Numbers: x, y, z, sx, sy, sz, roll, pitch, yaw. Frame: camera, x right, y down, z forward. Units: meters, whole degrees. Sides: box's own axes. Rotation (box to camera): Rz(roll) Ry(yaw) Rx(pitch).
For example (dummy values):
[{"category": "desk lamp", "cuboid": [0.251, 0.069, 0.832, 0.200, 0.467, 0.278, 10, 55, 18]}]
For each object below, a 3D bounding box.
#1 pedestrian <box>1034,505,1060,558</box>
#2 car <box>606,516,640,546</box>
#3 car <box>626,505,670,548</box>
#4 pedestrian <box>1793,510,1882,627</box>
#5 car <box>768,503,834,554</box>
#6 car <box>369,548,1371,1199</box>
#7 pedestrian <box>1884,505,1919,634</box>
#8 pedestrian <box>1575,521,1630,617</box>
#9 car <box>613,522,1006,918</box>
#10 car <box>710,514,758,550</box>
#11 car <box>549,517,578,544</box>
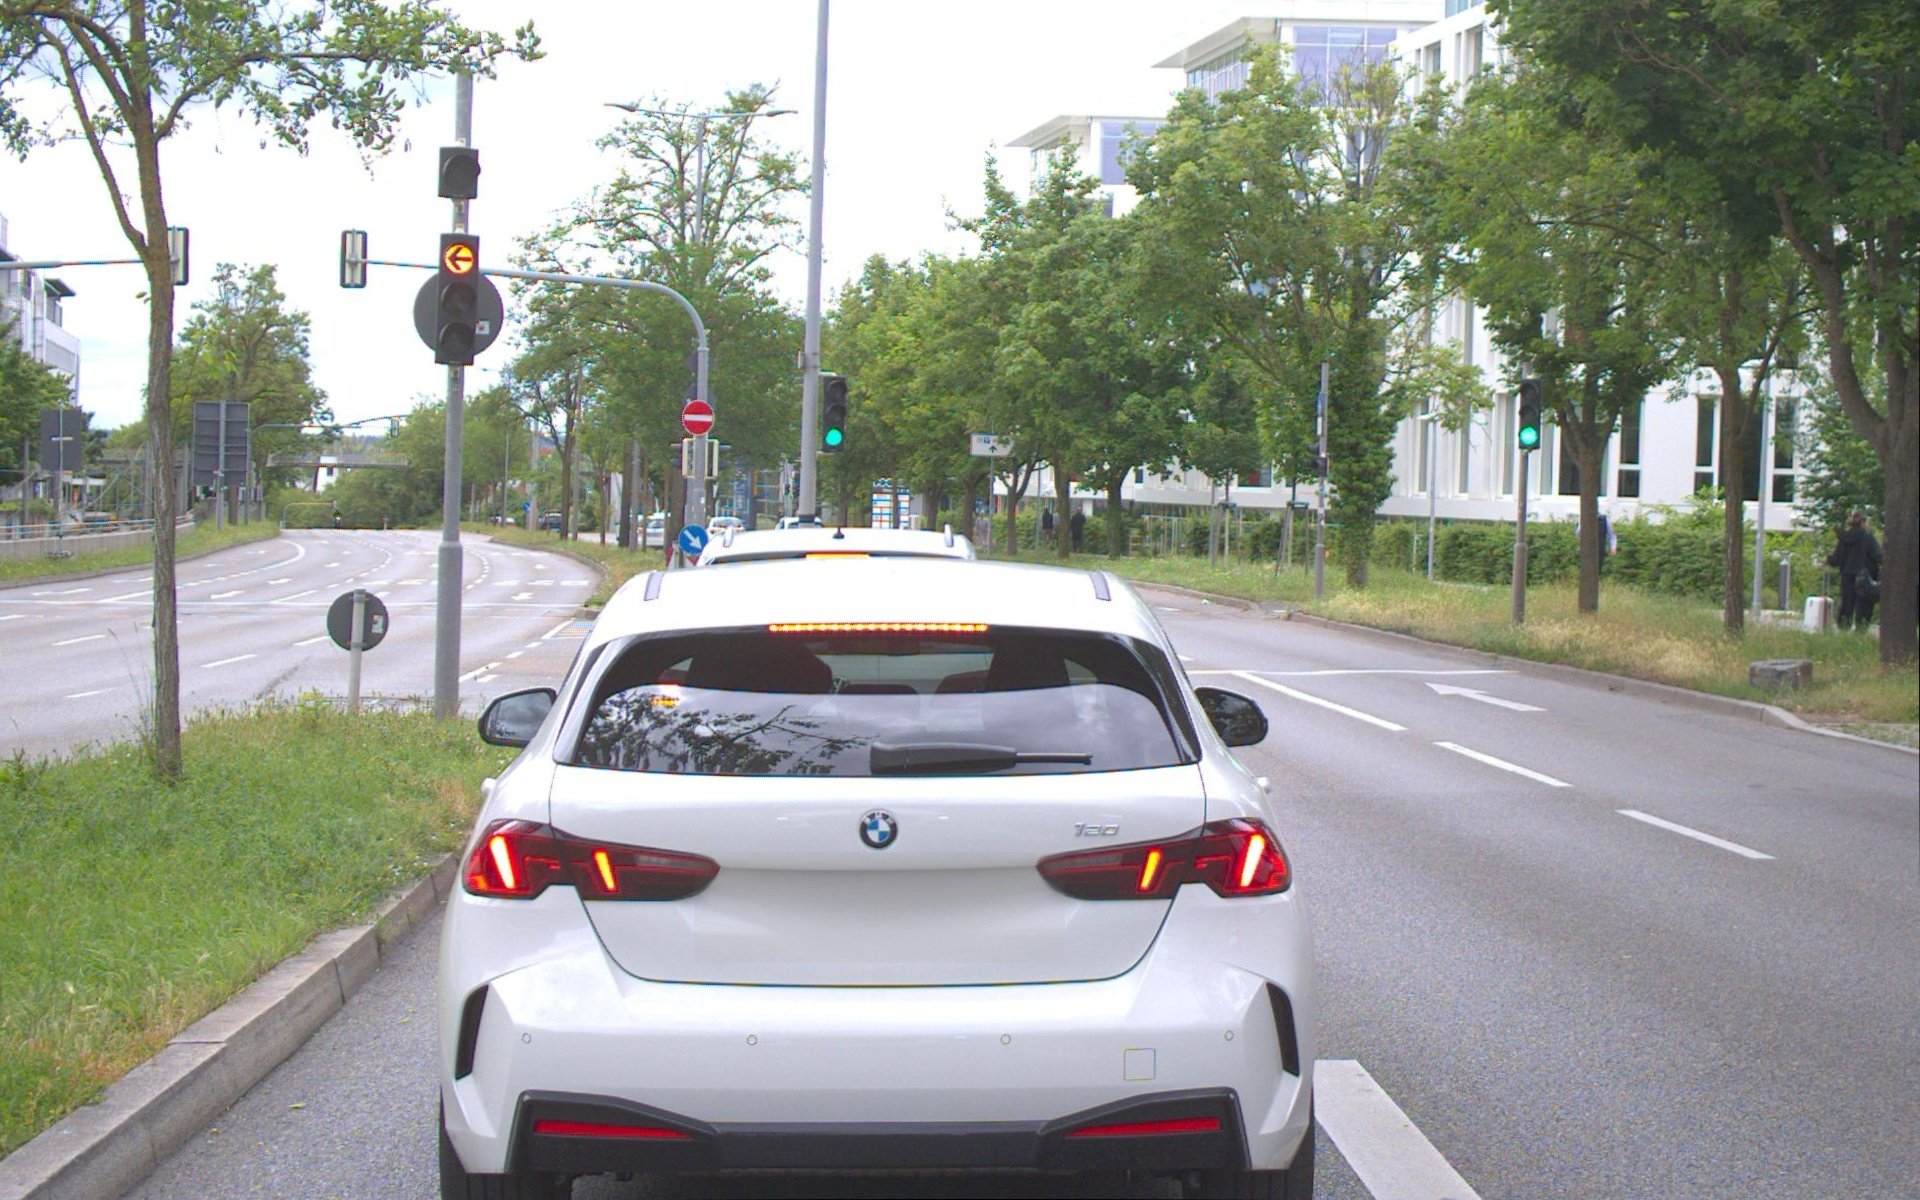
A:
[{"category": "pedestrian", "cuboid": [3.363, -2.655, 132.960, 0.762, 2.007, 0.754, 1, 1, -15]}, {"category": "car", "cuboid": [-18.938, -3.867, 193.177, 1.738, 1.661, 4.001, 1, 1, -4]}, {"category": "car", "cuboid": [-12.889, -3.024, 141.924, 1.695, 1.711, 4.001, 1, 1, -7]}, {"category": "pedestrian", "cuboid": [11.026, -0.392, 43.210, 0.789, 1.443, 1.112, 1, 0, -1]}, {"category": "car", "cuboid": [-5.361, -2.392, 115.428, 1.993, 1.664, 4.001, -1, 1, -6]}, {"category": "car", "cuboid": [-0.192, 0.618, 8.344, 1.822, 1.433, 4.000, 1, 1, -1]}, {"category": "pedestrian", "cuboid": [12.043, -0.376, 42.981, 0.699, 1.590, 0.883, 1, 0, -1]}, {"category": "pedestrian", "cuboid": [10.610, -0.512, 56.785, 0.741, 1.568, 0.674, 1, 0, -1]}, {"category": "car", "cuboid": [-0.630, 0.448, 15.863, 1.549, 1.563, 4.000, 1, 1, -1]}, {"category": "car", "cuboid": [-9.675, -2.910, 146.839, 1.692, 1.481, 3.694, 1, 1, -9]}, {"category": "car", "cuboid": [-24.948, -4.388, 216.399, 1.601, 1.661, 4.001, 1, 1, -4]}]
